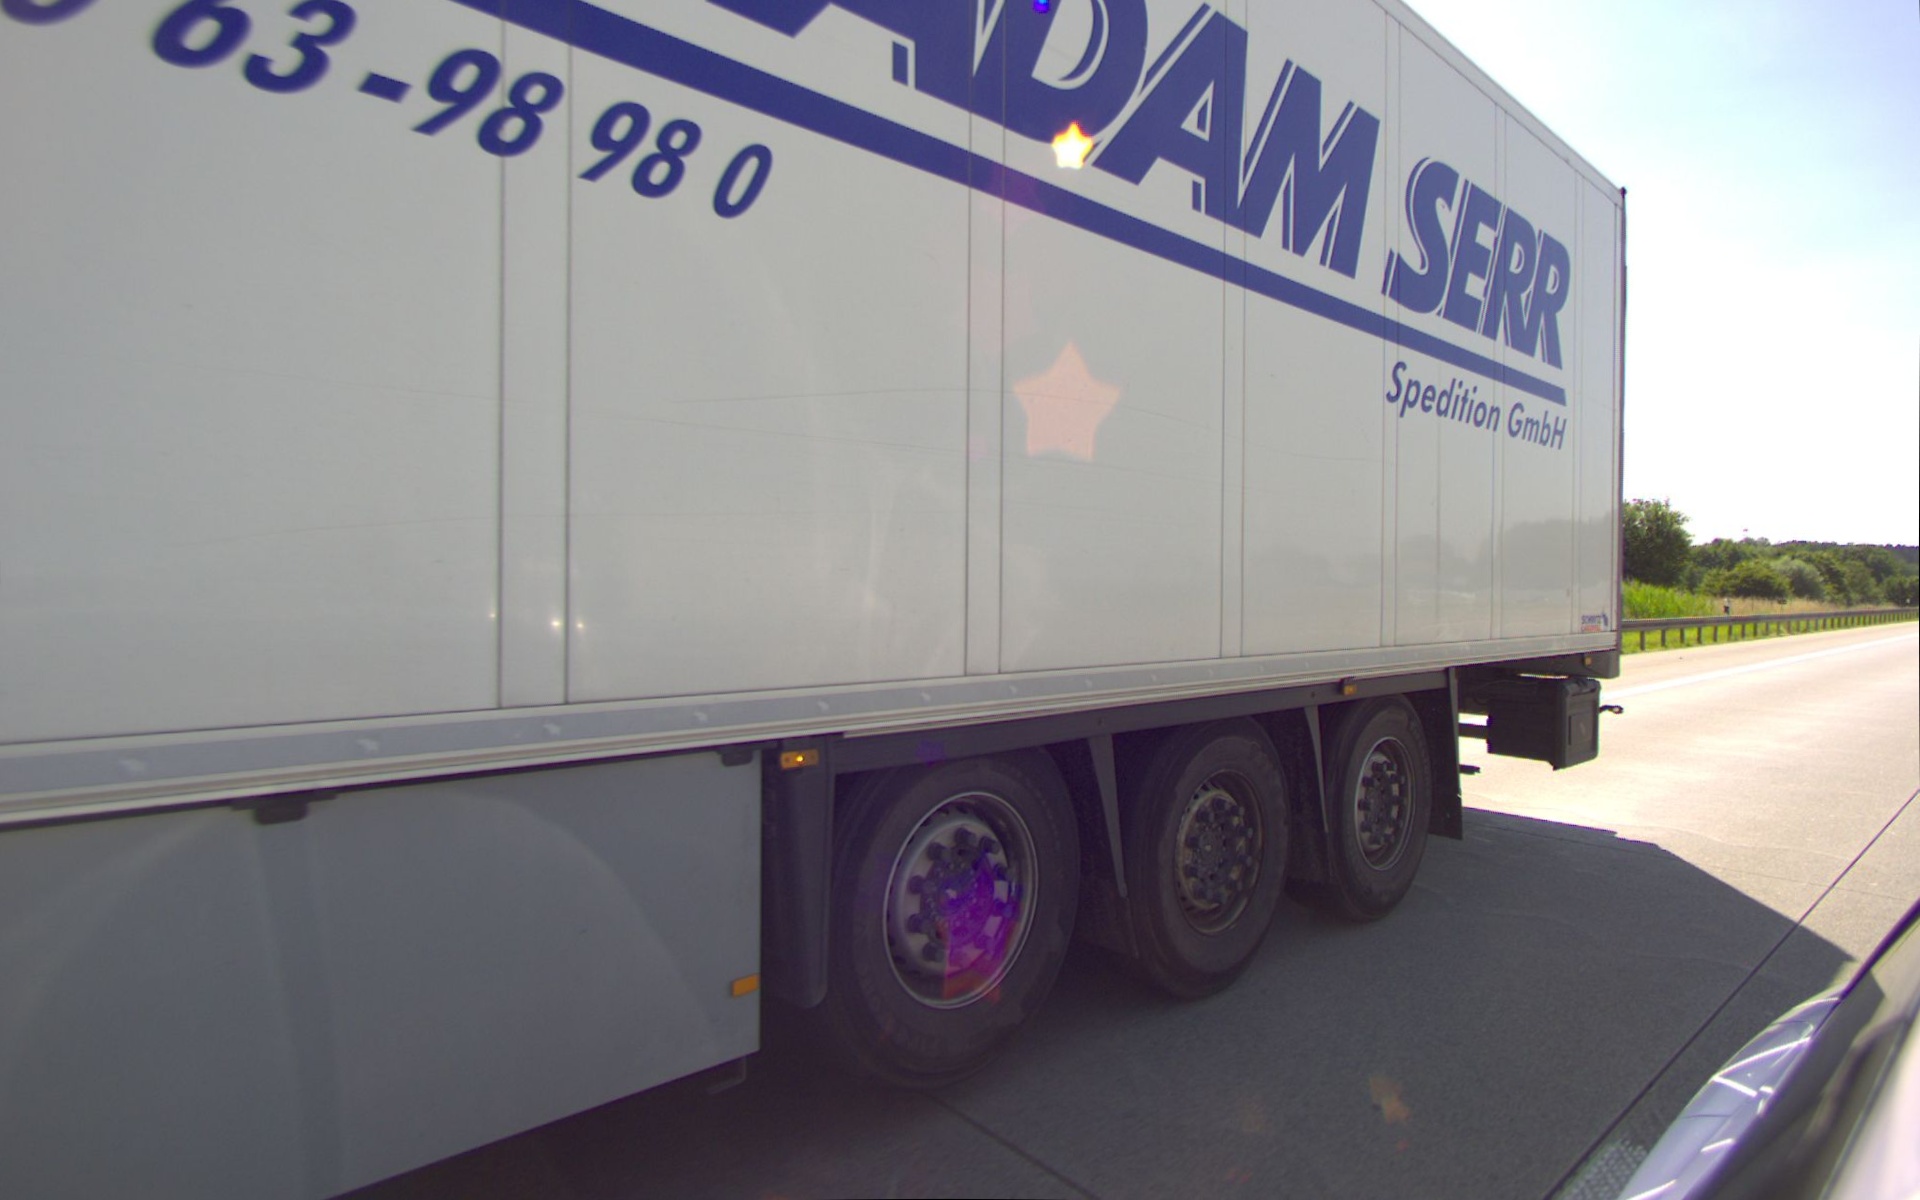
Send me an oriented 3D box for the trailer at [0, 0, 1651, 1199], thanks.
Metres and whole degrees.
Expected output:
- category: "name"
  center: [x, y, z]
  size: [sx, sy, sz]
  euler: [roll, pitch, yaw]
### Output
- category: "trailer"
  center: [-1.163, -0.658, 3.328]
  size: [12.495, 4.093, 2.856]
  euler: [0, 0, -42]
